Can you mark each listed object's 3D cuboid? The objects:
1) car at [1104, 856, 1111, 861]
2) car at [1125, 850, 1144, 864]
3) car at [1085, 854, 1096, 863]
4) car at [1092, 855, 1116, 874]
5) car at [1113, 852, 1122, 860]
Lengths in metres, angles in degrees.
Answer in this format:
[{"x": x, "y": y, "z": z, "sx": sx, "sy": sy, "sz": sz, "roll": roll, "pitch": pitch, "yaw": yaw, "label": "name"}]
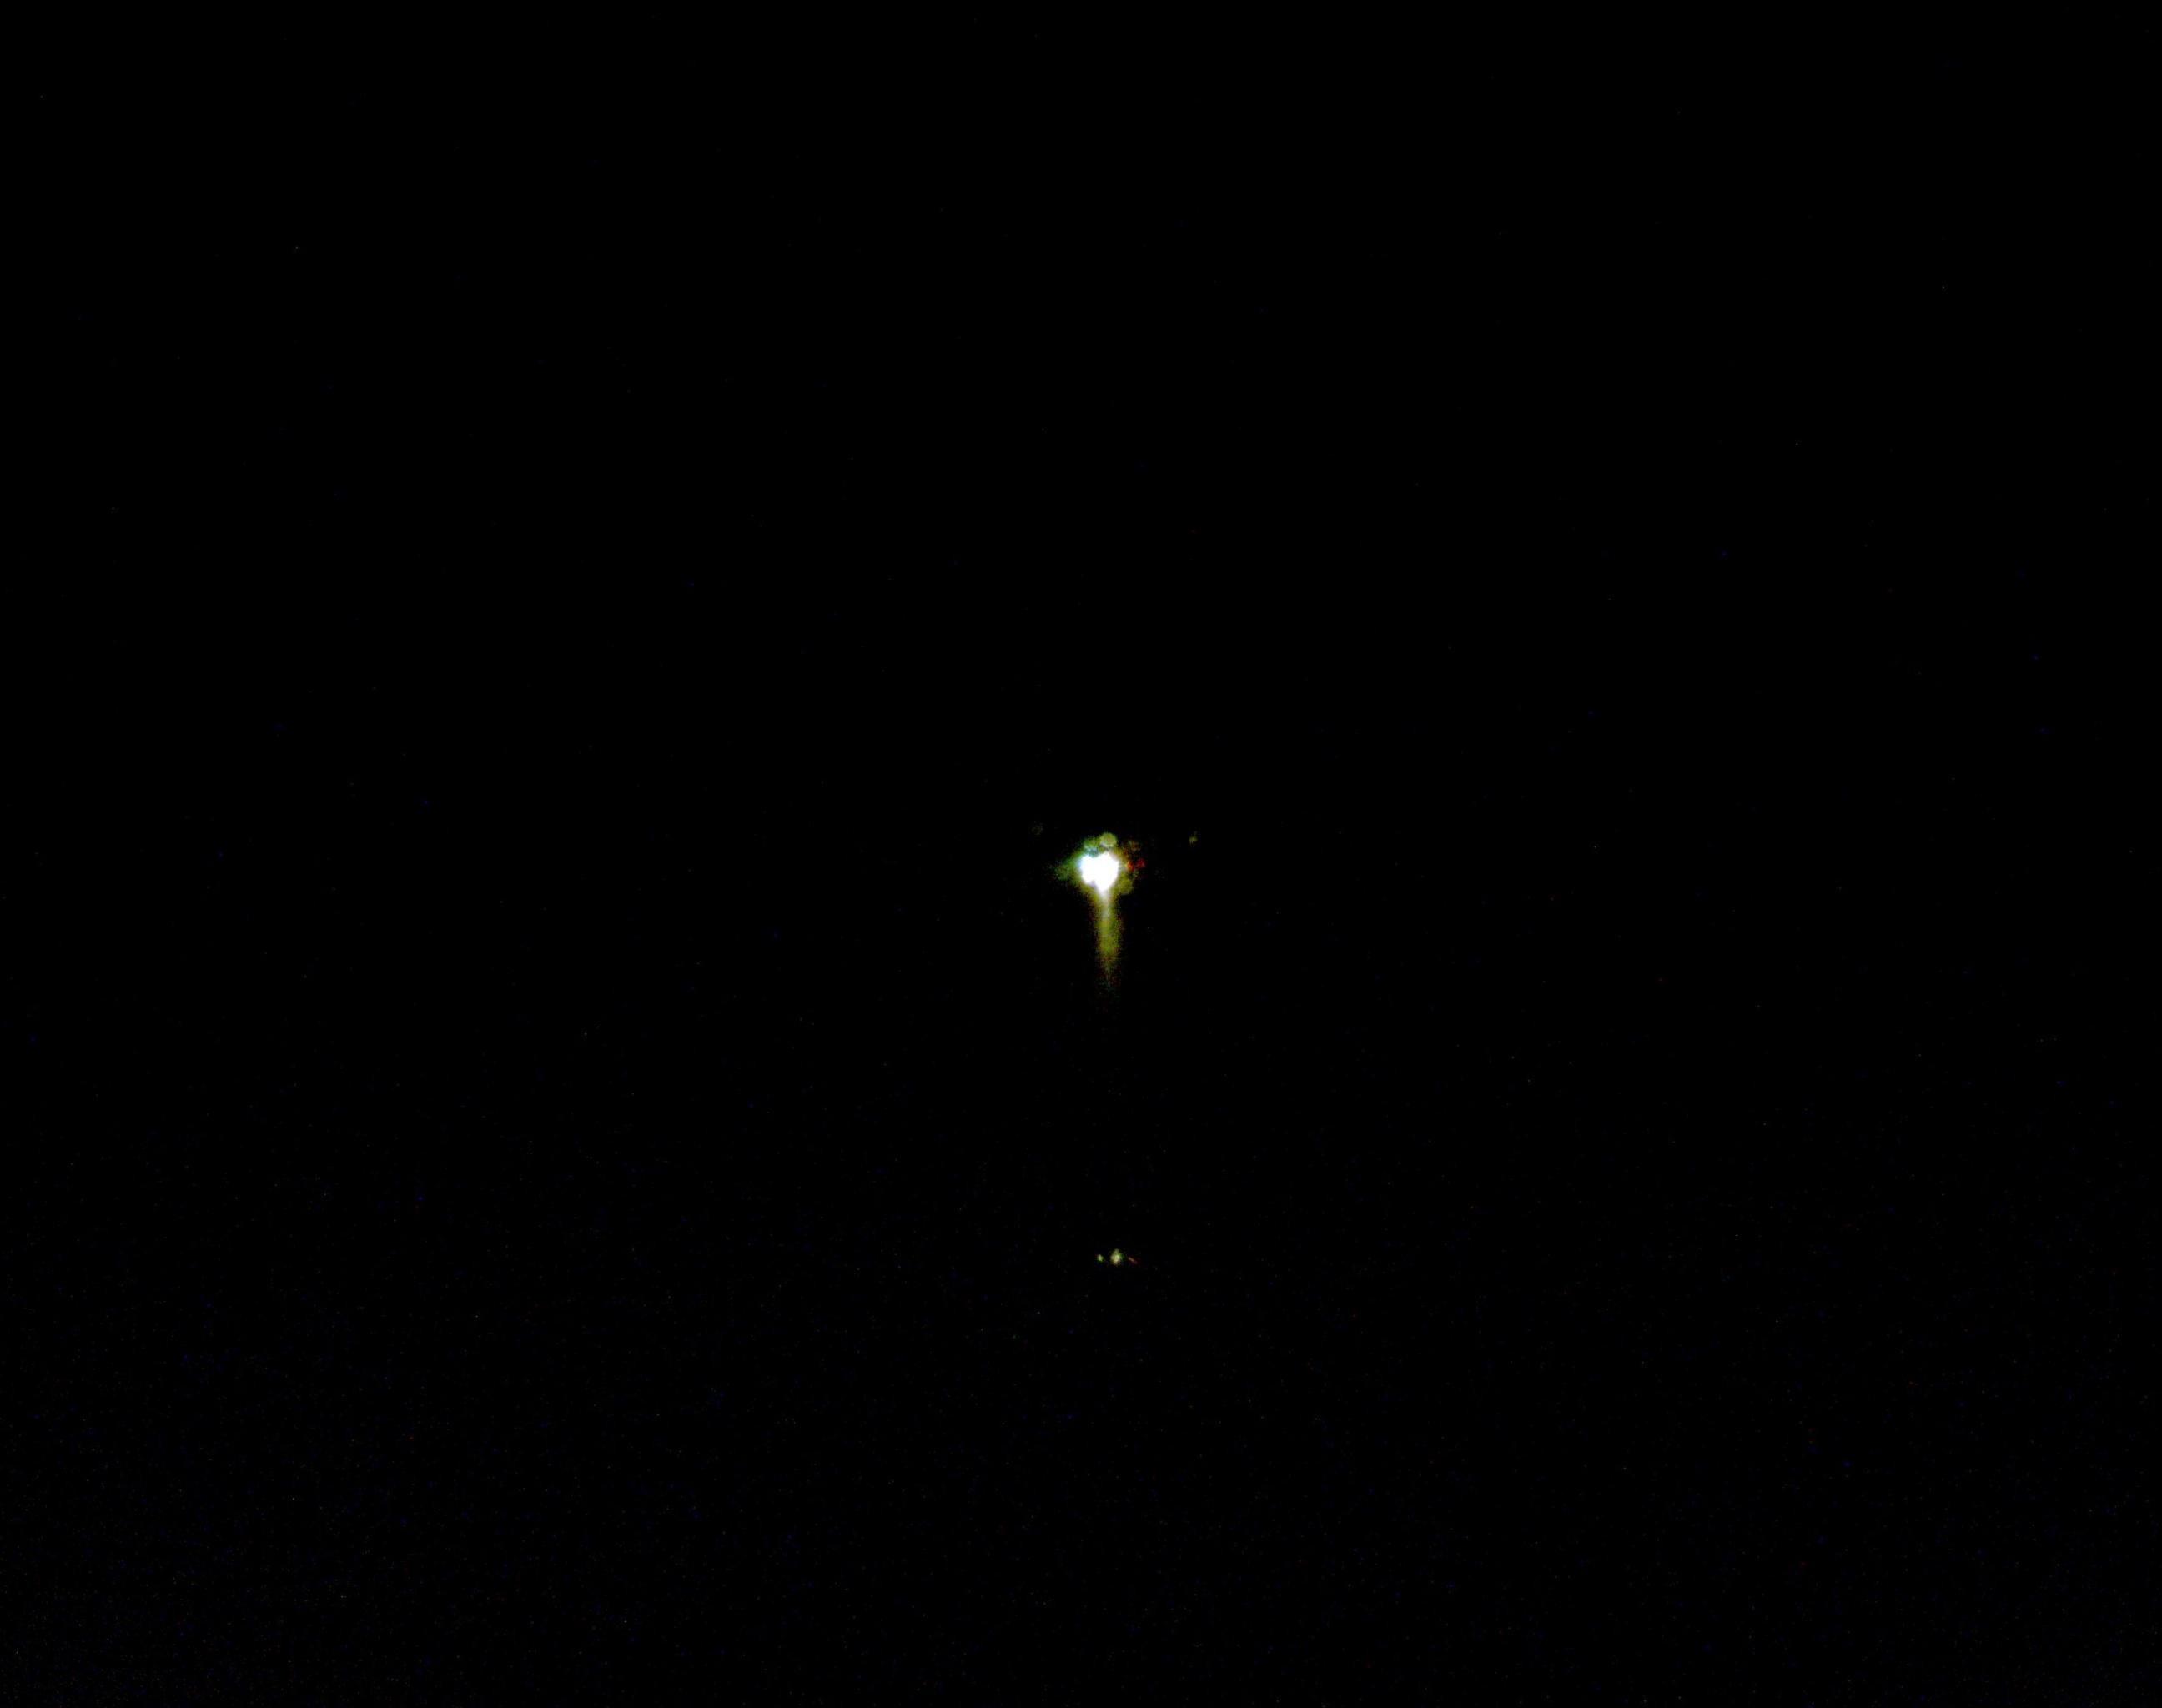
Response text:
[{"x": 8.746, "y": 1.460, "z": 250.421, "sx": 1.998, "sy": 1.489, "sz": 3.775, "roll": -2, "pitch": 0, "yaw": 5, "label": "car"}, {"x": 6.616, "y": 0.393, "z": 94.223, "sx": 1.998, "sy": 1.567, "sz": 4.661, "roll": -2, "pitch": 0, "yaw": 0, "label": "car"}, {"x": 1.814, "y": 0.869, "z": 143.999, "sx": 1.998, "sy": 1.575, "sz": 4.000, "roll": -3, "pitch": 0, "yaw": 1, "label": "car"}, {"x": 2.027, "y": 0.916, "z": 67.903, "sx": 1.998, "sy": 1.575, "sz": 4.000, "roll": -3, "pitch": 0, "yaw": 1, "label": "car"}, {"x": 8.407, "y": 0.413, "z": 174.016, "sx": 1.812, "sy": 1.612, "sz": 4.002, "roll": -2, "pitch": 0, "yaw": 7, "label": "car"}]
